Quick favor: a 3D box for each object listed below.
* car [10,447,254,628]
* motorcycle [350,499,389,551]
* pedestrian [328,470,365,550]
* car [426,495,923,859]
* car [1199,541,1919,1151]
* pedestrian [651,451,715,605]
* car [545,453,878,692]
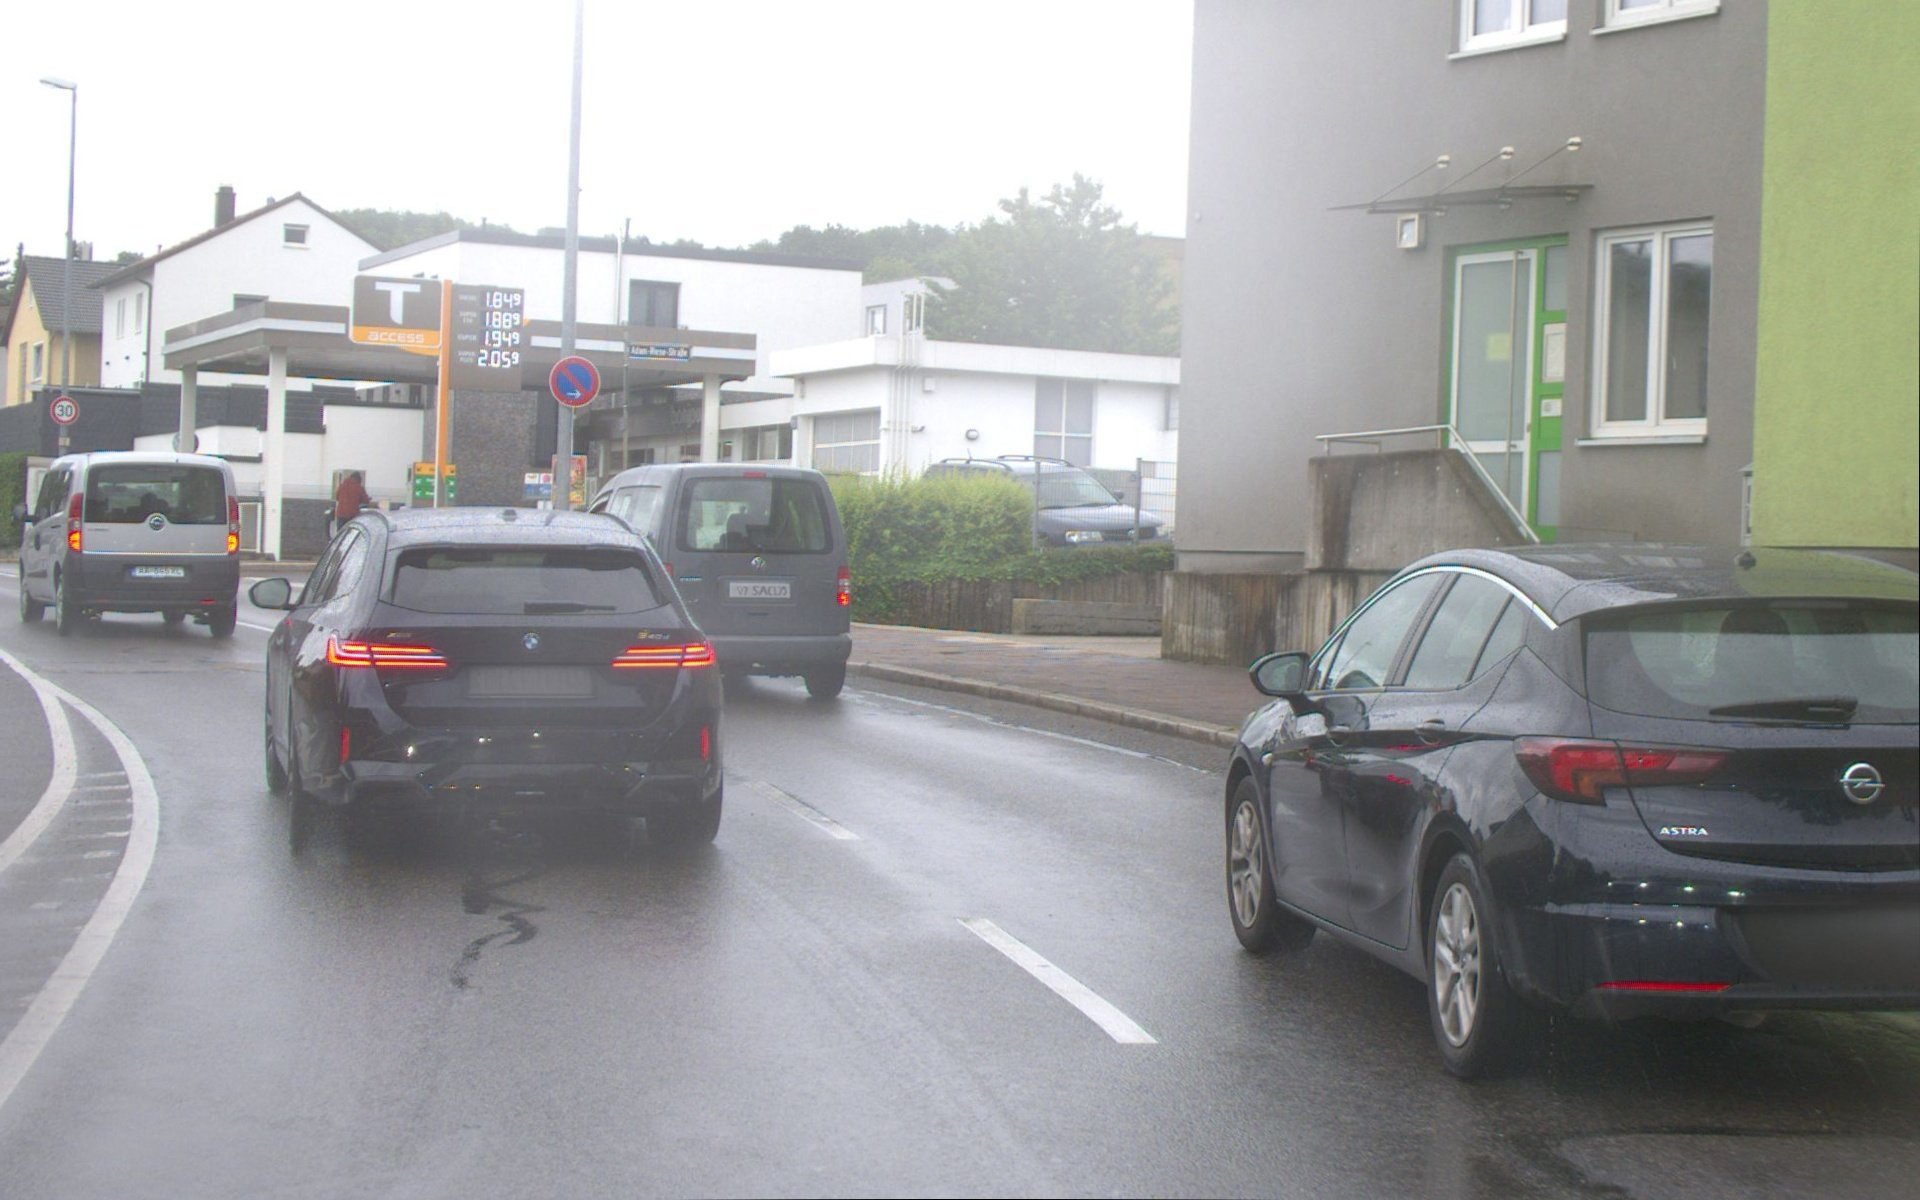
[{"bbox_3d":[-8.671,-0.620,35.785,1.993,1.731,4.001,1,0,-20],"label":"car"},{"bbox_3d":[-12.419,-1.574,72.277,0.462,1.052,1.391,1,0,-23],"label":"motorcycle"},{"bbox_3d":[-12.927,-1.891,72.419,0.609,1.650,0.586,1,0,-23],"label":"pedestrian"},{"bbox_3d":[-1.479,0.325,16.233,1.993,1.479,4.001,1,0,-9],"label":"car"},{"bbox_3d":[1.992,0.586,10.492,1.756,1.444,4.001,1,1,-7],"label":"car"},{"bbox_3d":[-3.664,-0.950,45.484,0.715,2.007,0.615,1,0,-14],"label":"pedestrian"},{"bbox_3d":[-2.100,-0.207,27.933,1.838,1.761,4.001,1,0,-17],"label":"car"}]
